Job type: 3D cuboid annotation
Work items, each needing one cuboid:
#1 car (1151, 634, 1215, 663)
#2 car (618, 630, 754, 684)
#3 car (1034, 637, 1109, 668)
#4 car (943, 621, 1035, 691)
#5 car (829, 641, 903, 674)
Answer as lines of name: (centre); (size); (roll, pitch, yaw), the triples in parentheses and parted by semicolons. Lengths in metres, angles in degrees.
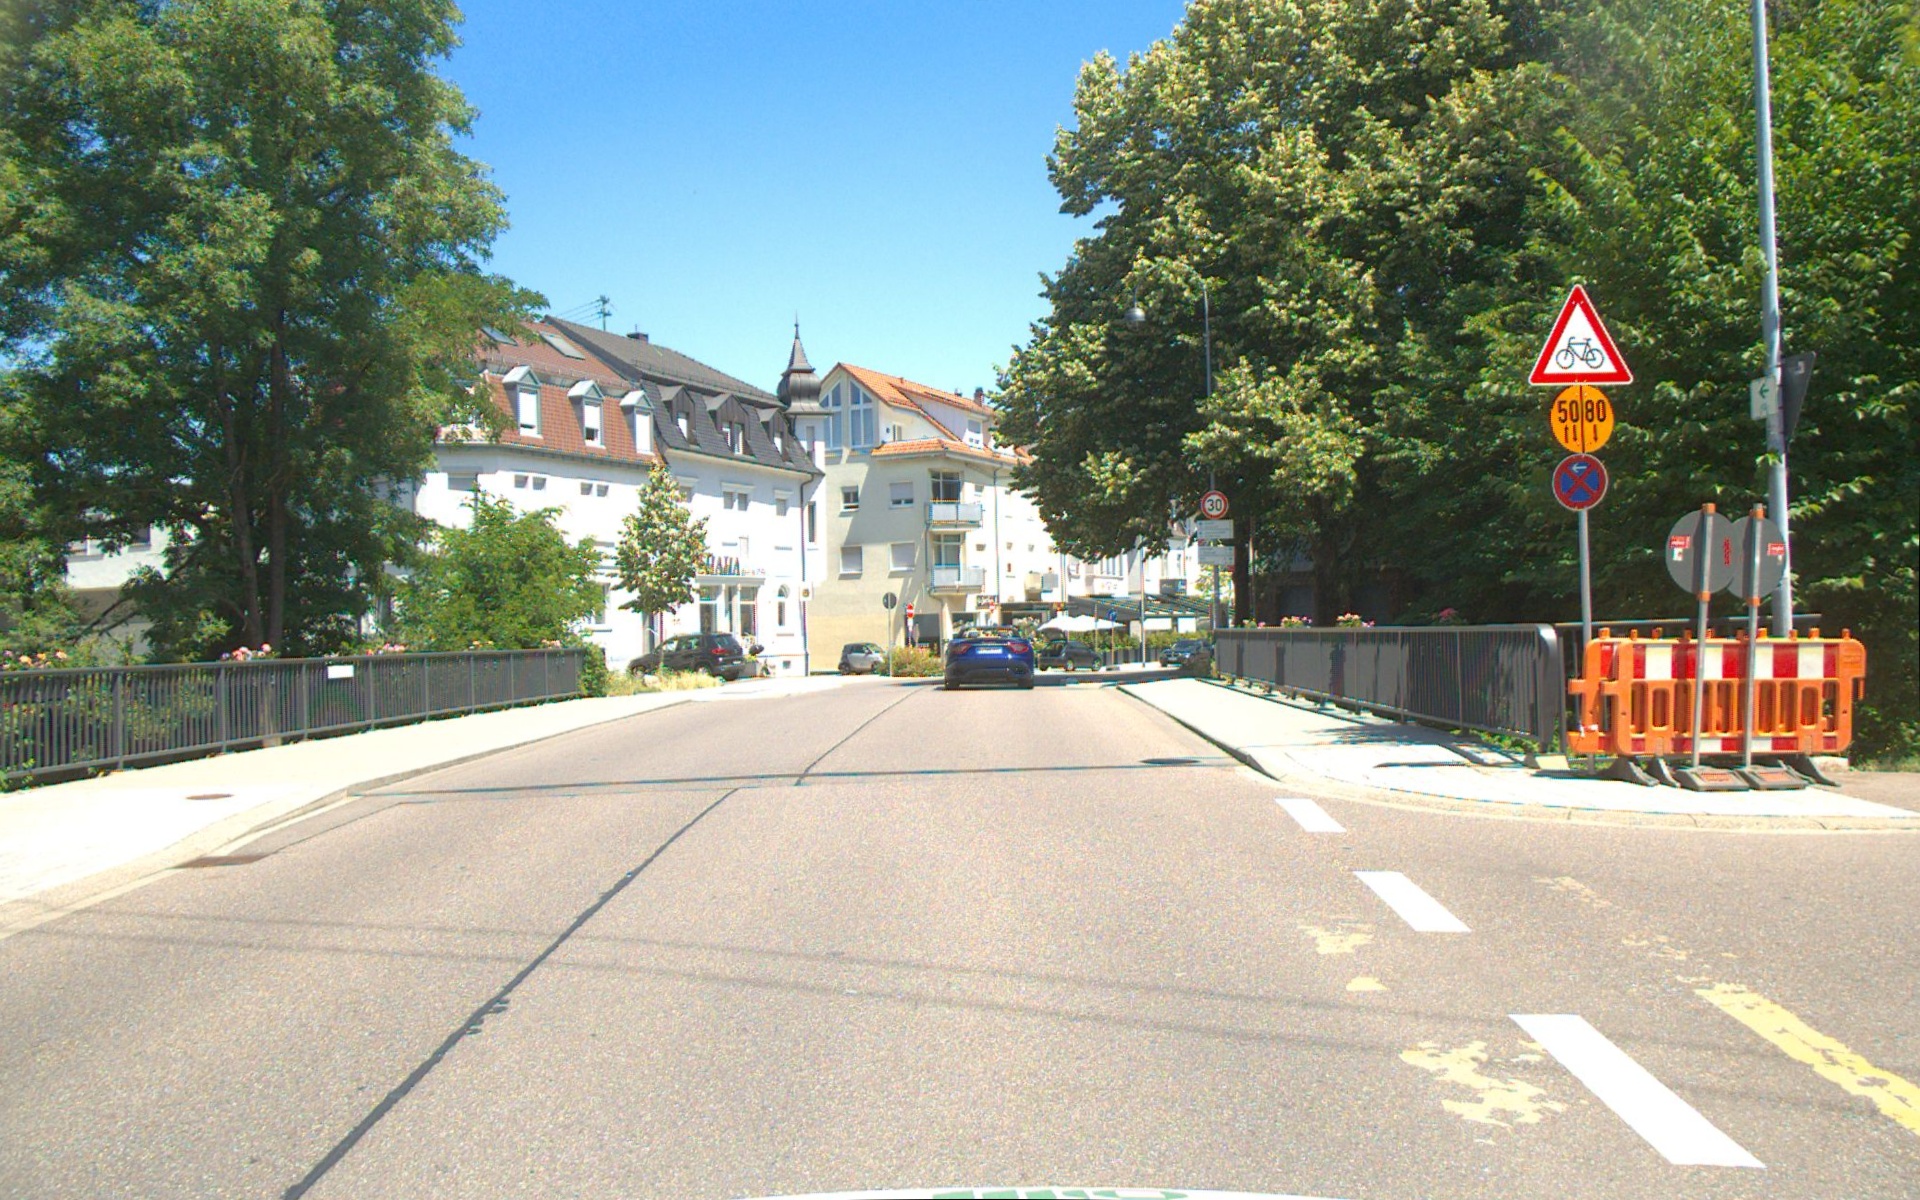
car: (12.045, 2.578, 89.039); (1.799, 1.455, 4.774); (-1, -1, 29)
car: (-9.255, 1.914, 55.865); (4.095, 1.691, 1.970); (-3, -2, 22)
car: (5.433, 2.537, 80.283); (1.684, 1.486, 4.113); (0, -1, 36)
car: (0.613, 1.159, 35.323); (1.832, 1.366, 4.596); (-1, -1, 1)
car: (-4.643, 2.863, 81.778); (3.196, 1.484, 1.691); (-3, -1, 22)
